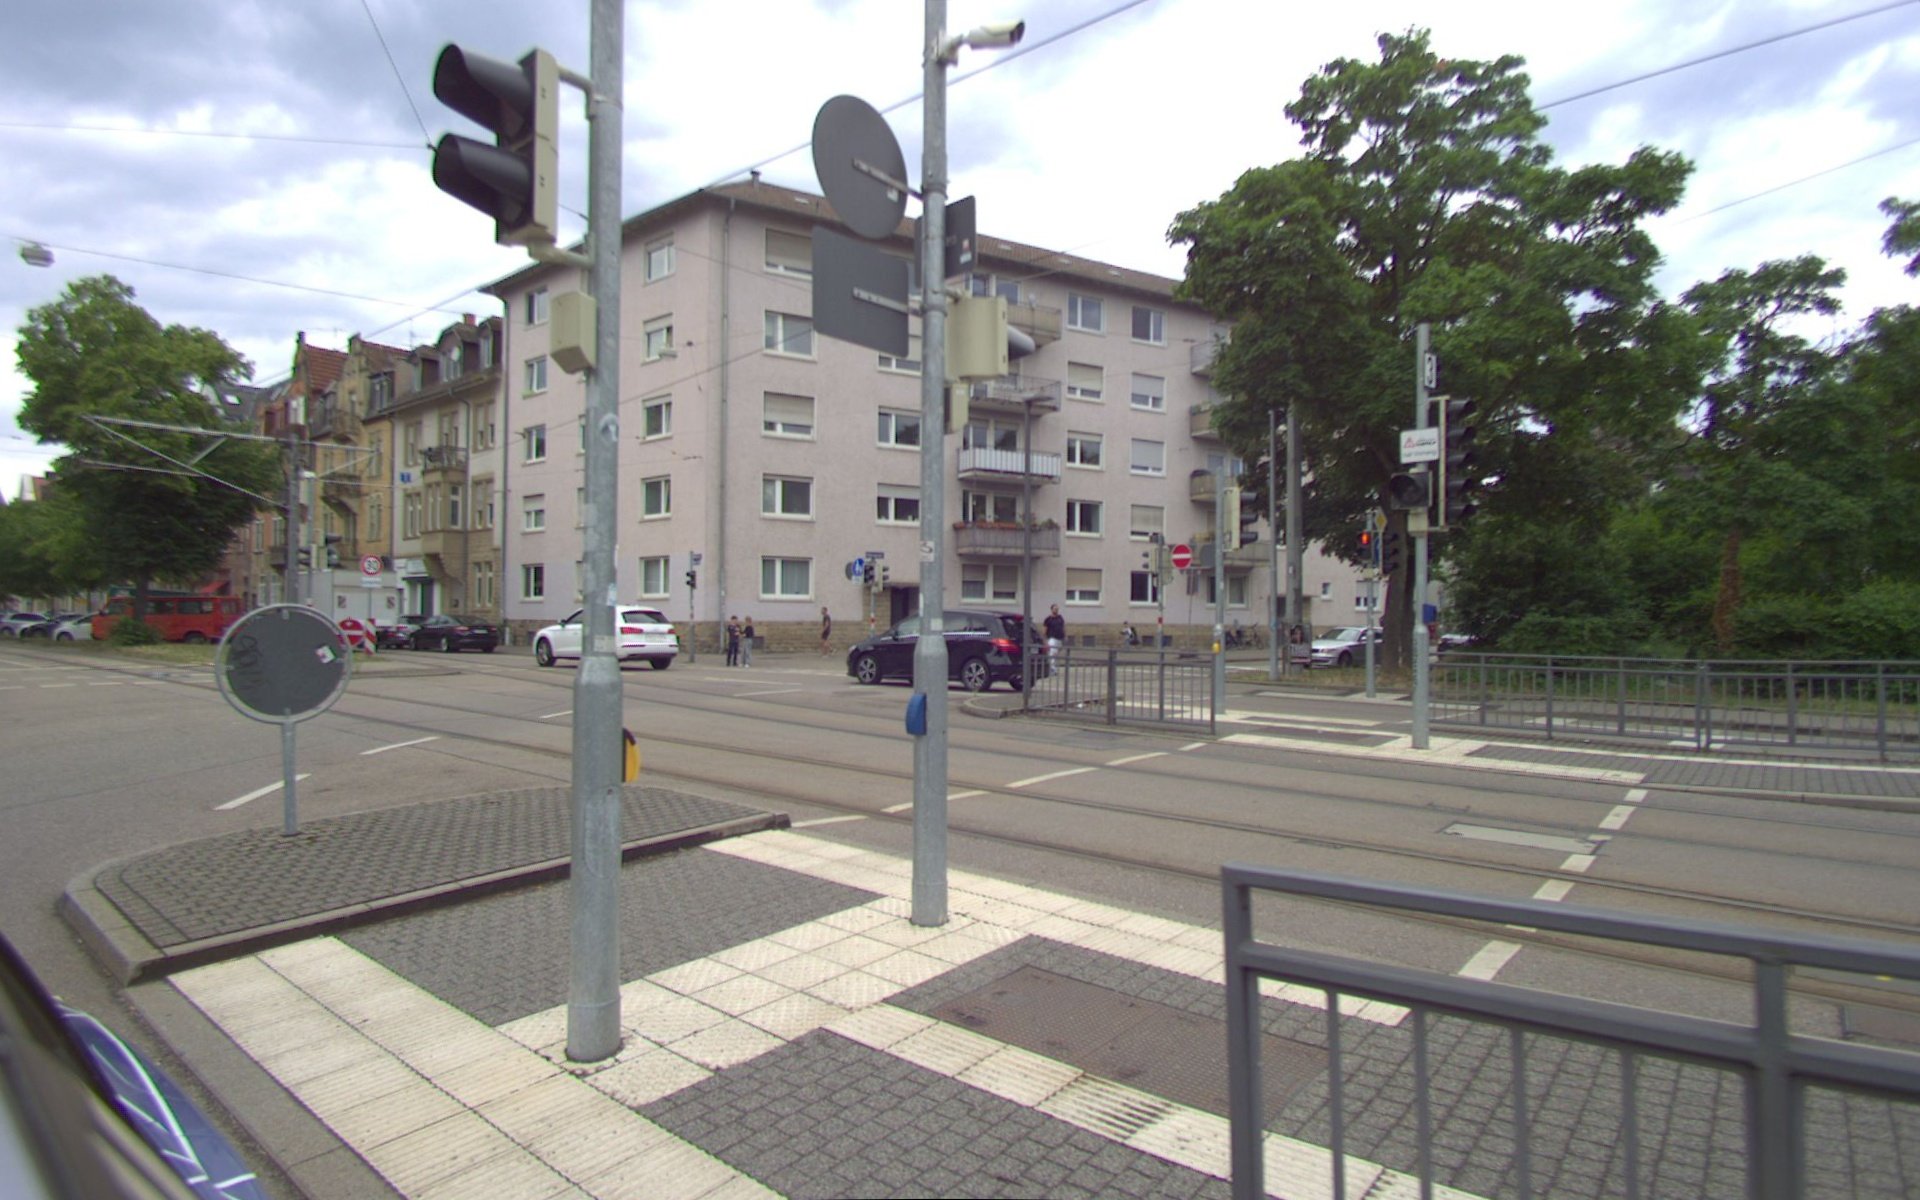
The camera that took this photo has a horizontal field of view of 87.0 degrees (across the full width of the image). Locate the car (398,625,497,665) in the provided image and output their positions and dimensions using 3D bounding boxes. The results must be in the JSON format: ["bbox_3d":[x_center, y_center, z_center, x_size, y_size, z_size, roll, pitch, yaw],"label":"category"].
[{"bbox_3d":[-19.867,1.696,39.150,4.757,1.454,1.618,-1,-1,39],"label":"car"}]

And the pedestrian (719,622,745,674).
[{"bbox_3d":[-6.953,1.452,30.835,0.561,1.569,0.534,2,-2,-39],"label":"pedestrian"}]

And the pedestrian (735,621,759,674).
[{"bbox_3d":[-6.413,1.435,30.500,0.563,1.569,0.533,0,-2,6],"label":"pedestrian"}]

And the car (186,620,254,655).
[{"bbox_3d":[-35.454,1.757,48.440,4.127,1.546,1.628,0,-1,39],"label":"car"}]

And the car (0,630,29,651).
[{"bbox_3d":[-65.608,2.681,67.822,4.595,1.378,1.760,0,-1,-7],"label":"car"}]

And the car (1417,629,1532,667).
[{"bbox_3d":[19.482,1.783,38.296,3.967,1.364,2.006,1,-2,-30],"label":"car"}]

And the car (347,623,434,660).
[{"bbox_3d":[-23.993,1.718,42.581,4.565,1.454,1.618,-1,-1,39],"label":"car"}]

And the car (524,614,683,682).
[{"bbox_3d":[-9.492,1.211,26.824,4.529,1.651,1.754,0,-1,37],"label":"car"}]

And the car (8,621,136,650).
[{"bbox_3d":[-45.575,1.815,52.057,4.612,1.446,1.903,0,-1,-10],"label":"car"}]

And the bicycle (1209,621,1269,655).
[{"bbox_3d":[12.757,1.728,46.234,2.846,1.477,0.885,1,-2,-29],"label":"bicycle"}]

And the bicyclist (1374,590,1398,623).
[{"bbox_3d":[20.570,0.331,48.894,0.846,1.576,0.660,1,-2,-29],"label":"bicyclist"}]

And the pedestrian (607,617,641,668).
[{"bbox_3d":[-12.003,1.510,36.167,0.899,1.780,0.790,-1,-2,39],"label":"pedestrian"}]

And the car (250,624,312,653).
[{"bbox_3d":[-35.321,1.972,52.620,3.919,1.454,1.619,-1,-1,39],"label":"car"}]

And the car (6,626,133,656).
[{"bbox_3d":[-43.096,1.974,49.069,4.272,1.446,1.902,0,-1,-8],"label":"car"}]

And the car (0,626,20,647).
[{"bbox_3d":[-72.796,2.681,74.853,4.472,1.501,2.038,1,-1,-6],"label":"car"}]

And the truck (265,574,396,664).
[{"bbox_3d":[-24.278,0.697,38.861,7.327,3.181,2.162,0,-1,41],"label":"truck"}]

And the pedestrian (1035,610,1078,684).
[{"bbox_3d":[2.526,1.219,26.618,0.822,1.889,1.048,1,-2,-14],"label":"pedestrian"}]

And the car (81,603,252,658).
[{"bbox_3d":[-29.914,1.157,38.314,4.689,1.989,1.964,1,-2,-11],"label":"car"}]

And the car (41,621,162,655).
[{"bbox_3d":[-38.250,1.695,45.167,3.802,1.474,1.692,0,-1,-8],"label":"car"}]

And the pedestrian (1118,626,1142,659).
[{"bbox_3d":[6.941,1.731,41.320,0.719,1.298,0.692,1,-2,-34],"label":"pedestrian"}]

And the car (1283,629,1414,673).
[{"bbox_3d":[12.993,1.666,33.840,3.967,1.364,2.006,1,-2,-30],"label":"car"}]

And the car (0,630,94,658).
[{"bbox_3d":[-51.427,2.453,56.711,4.051,1.495,1.800,0,-1,-9],"label":"car"}]

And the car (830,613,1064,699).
[{"bbox_3d":[-0.337,1.023,20.044,4.529,1.504,1.754,0,-1,37],"label":"car"}]

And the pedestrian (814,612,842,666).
[{"bbox_3d":[-4.559,1.329,34.845,0.710,1.827,0.685,1,-2,-34],"label":"pedestrian"}]

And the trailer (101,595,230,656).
[{"bbox_3d":[-32.013,1.047,40.893,3.608,2.362,1.937,1,-2,-17],"label":"trailer"}]
